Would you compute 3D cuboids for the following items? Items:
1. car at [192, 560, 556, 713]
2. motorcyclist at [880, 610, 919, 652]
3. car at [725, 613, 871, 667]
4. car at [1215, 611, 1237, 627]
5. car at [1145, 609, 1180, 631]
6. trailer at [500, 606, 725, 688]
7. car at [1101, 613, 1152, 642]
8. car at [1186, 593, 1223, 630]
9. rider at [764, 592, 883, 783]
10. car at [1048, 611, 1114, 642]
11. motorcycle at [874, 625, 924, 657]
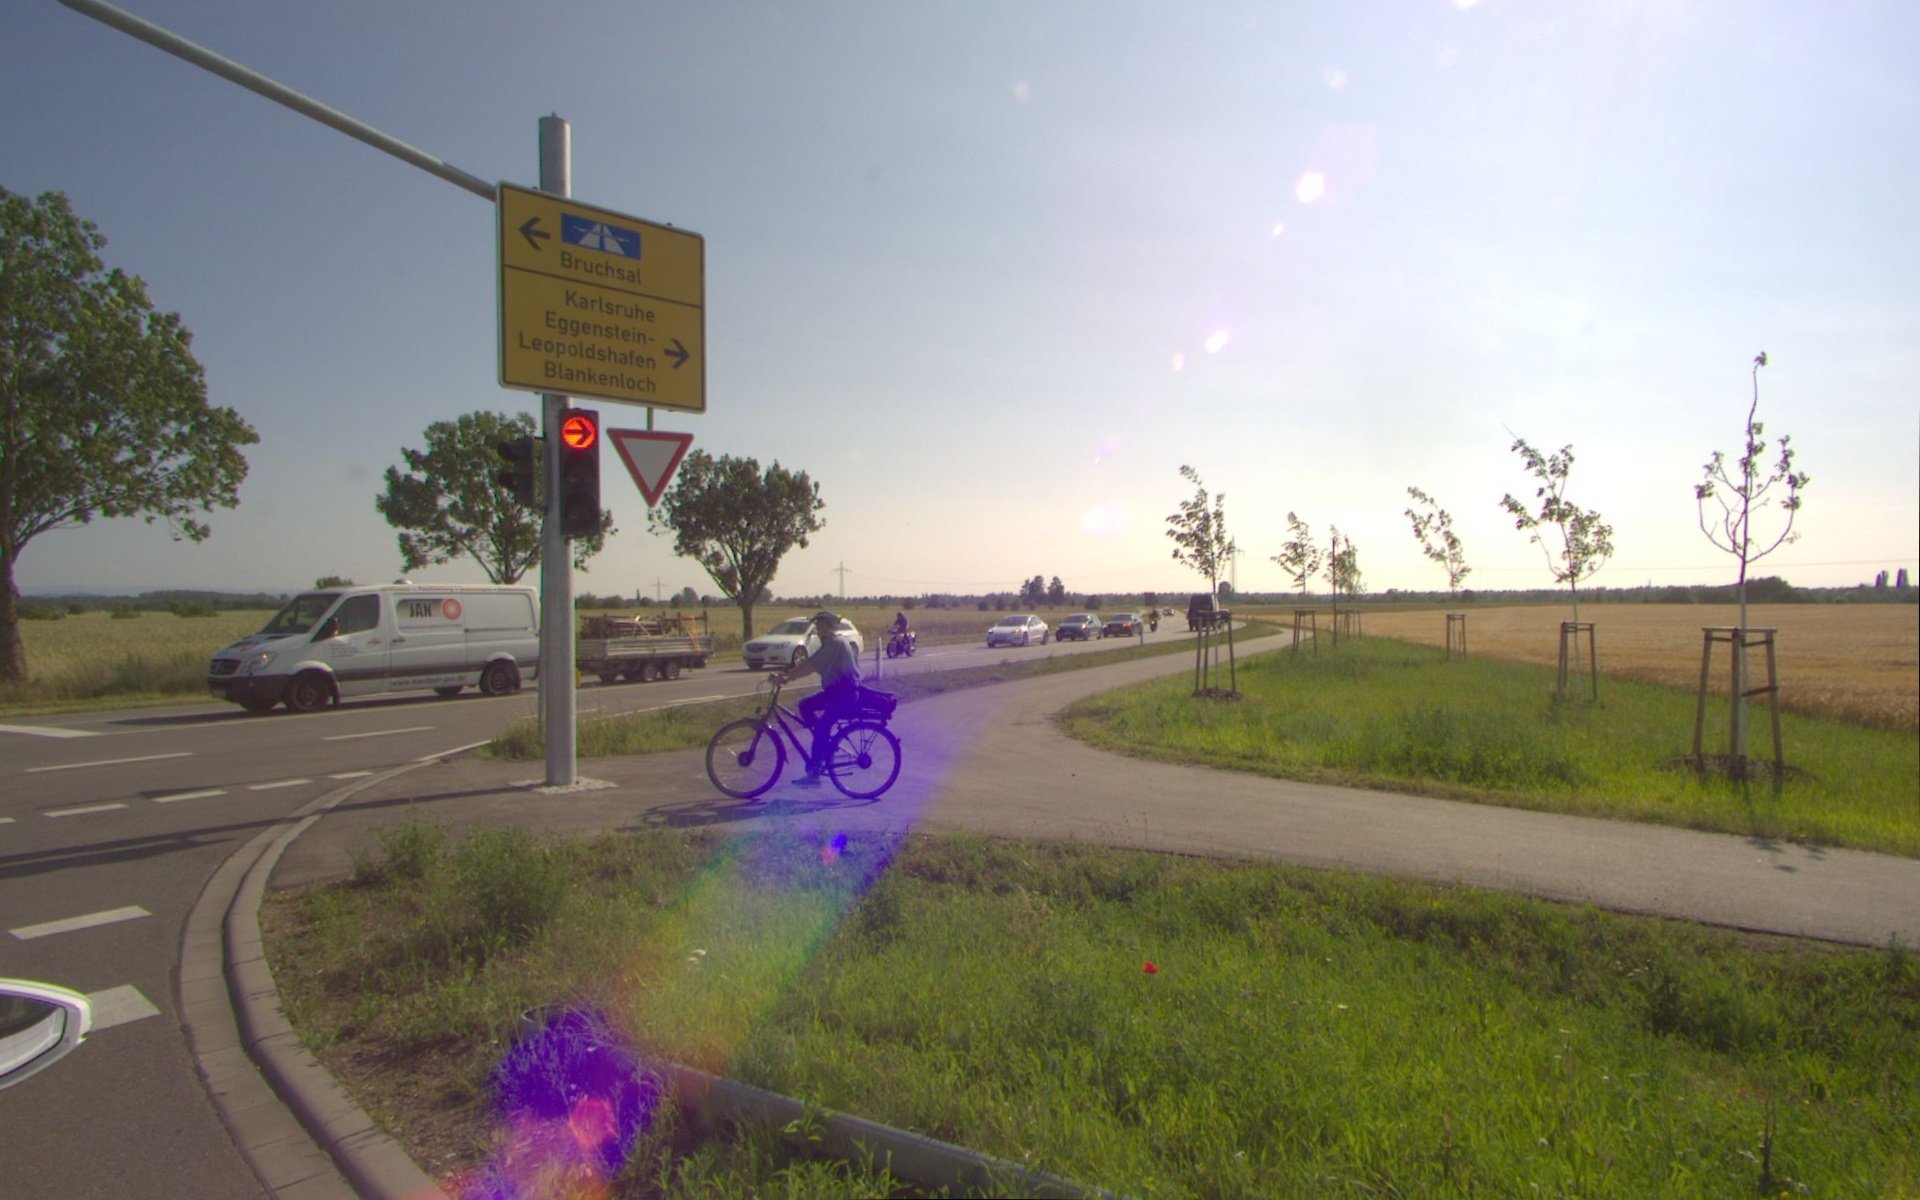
[{"bbox_3d":[-11.084,0.663,19.590,1.970,2.525,5.949,-2,-1,30],"label":"car"},{"bbox_3d":[-2.213,1.129,36.452,1.013,1.479,1.067,0,-1,27],"label":"motorcyclist"},{"bbox_3d":[-4.896,1.232,30.967,1.969,1.529,4.868,-2,-3,27],"label":"car"},{"bbox_3d":[24.925,1.767,93.886,1.698,1.476,3.731,0,1,19],"label":"car"},{"bbox_3d":[15.359,1.552,75.891,1.678,1.544,3.988,-1,-2,26],"label":"car"},{"bbox_3d":[-8.321,1.055,24.549,1.925,1.776,5.254,-1,-1,30],"label":"trailer"},{"bbox_3d":[10.540,1.771,63.128,1.968,1.712,4.871,-1,-2,25],"label":"car"},{"bbox_3d":[18.346,0.884,74.983,1.999,2.656,5.736,0,0,21],"label":"car"},{"bbox_3d":[-1.284,0.768,9.287,0.973,1.665,0.820,0,1,-17],"label":"rider"},{"bbox_3d":[6.798,1.506,55.981,1.991,1.609,4.865,-2,-3,29],"label":"car"},{"bbox_3d":[-2.196,1.480,36.465,0.836,1.133,2.140,0,-2,26],"label":"motorcycle"}]
